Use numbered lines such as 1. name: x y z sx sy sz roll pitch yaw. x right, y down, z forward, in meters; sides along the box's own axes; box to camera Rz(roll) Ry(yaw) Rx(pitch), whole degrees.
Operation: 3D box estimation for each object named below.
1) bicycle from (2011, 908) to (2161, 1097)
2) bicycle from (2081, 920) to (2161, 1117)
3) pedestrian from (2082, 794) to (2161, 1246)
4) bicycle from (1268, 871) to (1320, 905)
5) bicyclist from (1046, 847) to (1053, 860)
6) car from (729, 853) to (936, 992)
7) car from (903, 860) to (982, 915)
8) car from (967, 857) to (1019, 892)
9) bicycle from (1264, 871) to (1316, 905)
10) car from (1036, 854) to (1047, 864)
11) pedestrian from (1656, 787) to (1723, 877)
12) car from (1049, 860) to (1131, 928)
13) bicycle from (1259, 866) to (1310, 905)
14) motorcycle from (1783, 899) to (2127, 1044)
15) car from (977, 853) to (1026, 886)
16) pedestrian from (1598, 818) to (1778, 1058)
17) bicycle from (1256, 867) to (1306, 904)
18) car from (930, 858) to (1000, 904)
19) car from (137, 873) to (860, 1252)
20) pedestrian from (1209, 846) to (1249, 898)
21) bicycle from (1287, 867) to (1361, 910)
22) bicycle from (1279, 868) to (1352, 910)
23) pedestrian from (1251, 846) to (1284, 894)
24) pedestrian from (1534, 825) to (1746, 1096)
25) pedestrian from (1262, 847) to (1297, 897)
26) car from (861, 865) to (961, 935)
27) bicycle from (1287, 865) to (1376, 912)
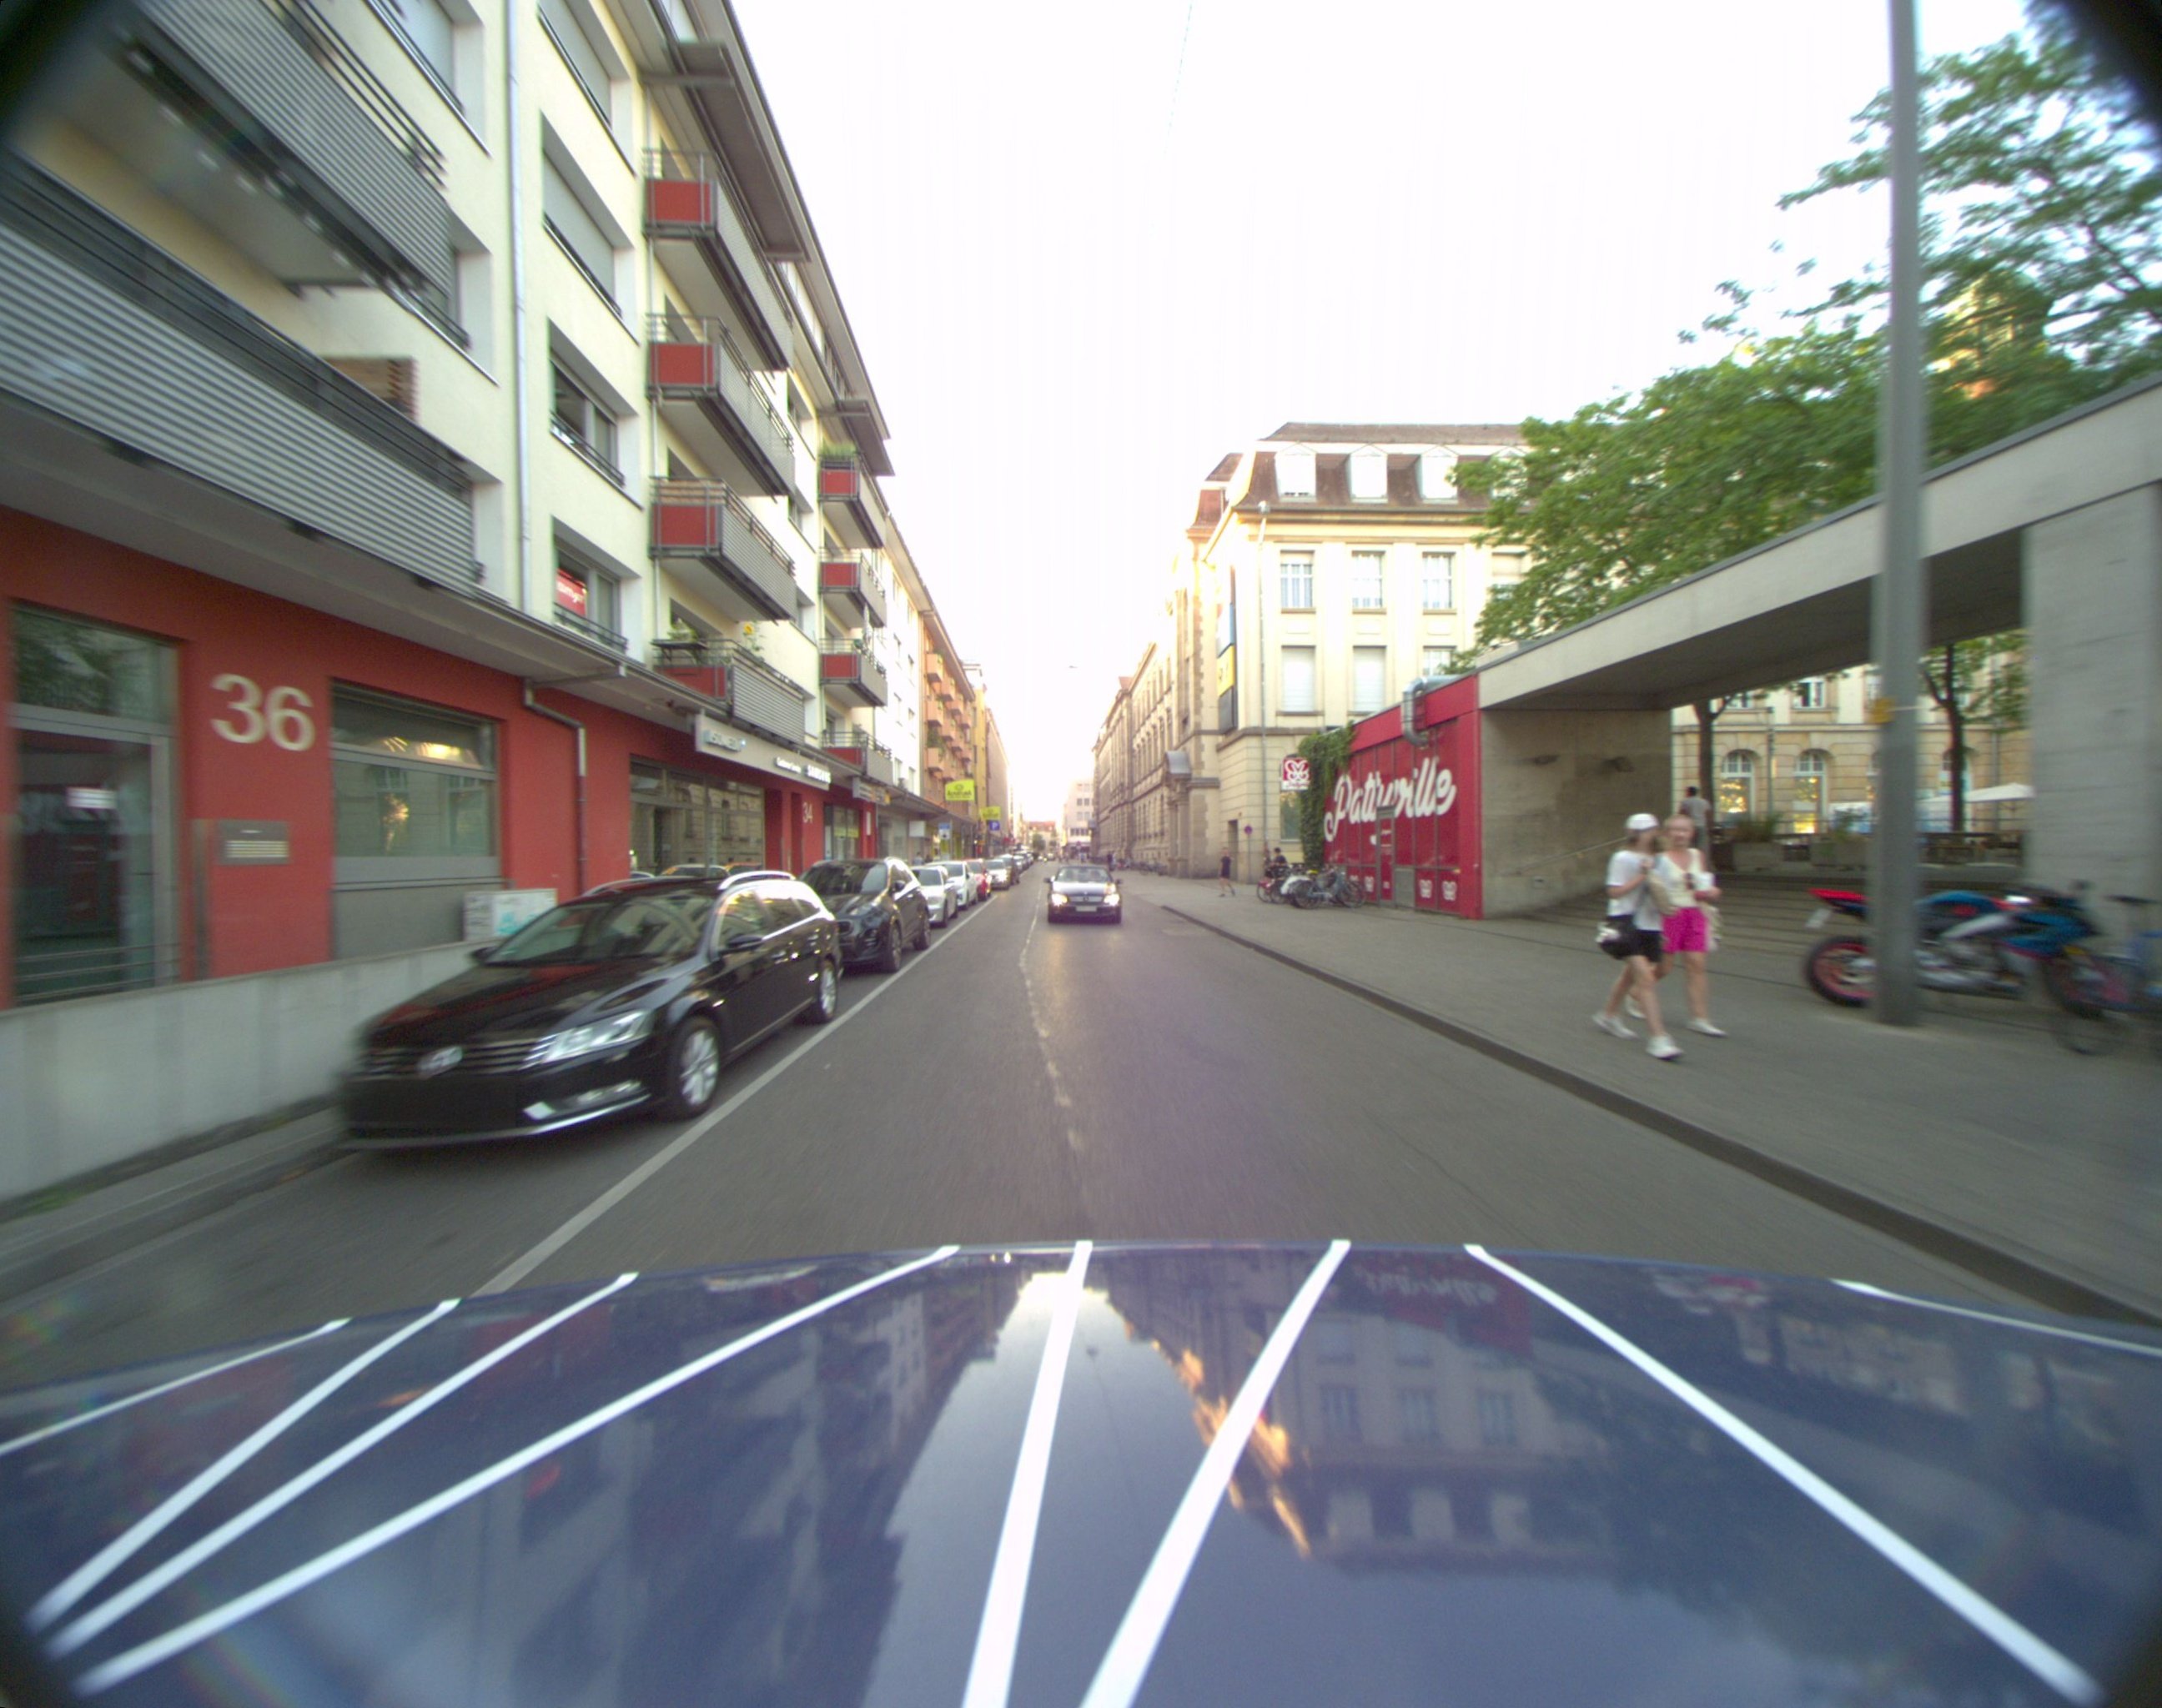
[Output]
1. bicycle: 7.314 0.914 4.935 1.872 1.081 0.550 -2 0 -1
2. bicycle: 6.903 0.935 4.404 1.496 1.081 0.436 -2 1 5
3. pedestrian: 4.731 0.640 2.759 0.984 1.783 0.890 -2 0 0
4. bicycle: 6.394 1.025 22.821 1.501 0.950 0.312 -2 1 -10
5. bicyclist: -4.899 -0.072 118.708 1.045 2.002 1.182 -1 1 0
6. car: -3.554 0.874 11.727 1.884 1.689 4.136 -2 0 -2
7. car: -4.200 0.964 23.654 1.768 1.468 3.947 -2 0 -1
8. car: -4.070 0.896 35.769 1.897 1.468 4.300 -2 0 0
9. bicycle: 6.359 1.028 23.131 1.501 0.973 0.312 -2 1 -10
10. car: -8.029 0.948 154.673 1.998 2.002 4.000 -1 1 2
11. pedestrian: 12.667 -0.441 15.829 0.834 1.816 0.943 -3 1 -43
12. car: 0.192 0.904 19.196 1.809 1.399 4.616 0 1 0
13. bicycle: 6.286 0.954 23.448 1.501 1.134 0.312 -2 1 -10
14. motorcycle: 7.229 0.939 6.412 1.824 1.062 0.534 -2 0 26
15. car: -4.268 0.799 41.490 1.998 1.607 4.367 -2 0 2
16. pedestrian: 4.834 0.638 6.105 0.811 1.783 0.736 -2 1 0
17. bicycle: 6.256 0.979 23.792 1.501 1.070 0.312 -2 1 -10
18. car: -4.183 0.941 28.087 1.866 1.468 4.394 -2 0 0
19. car: -3.325 1.011 5.781 1.878 1.543 4.630 -2 0 0
20. pedestrian: 5.435 0.651 27.900 1.009 1.816 0.944 -2 1 -29
21. bicycle: 6.526 0.928 20.450 1.844 1.077 0.354 -2 1 4
22. bicycle: 6.438 0.961 20.900 1.844 1.076 0.354 -2 1 4
23. pedestrian: 6.804 0.587 27.735 0.920 1.716 0.702 -1 1 -7
24. pedestrian: 4.006 0.716 5.524 0.851 1.783 0.869 -2 0 0
25. pedestrian: 6.998 0.621 26.805 0.921 1.716 0.833 -1 1 -10
26. car: -3.953 1.017 18.275 1.753 1.395 3.965 -2 0 -4
27. bicycle: 6.604 0.903 20.084 2.180 1.149 0.446 -2 1 4
